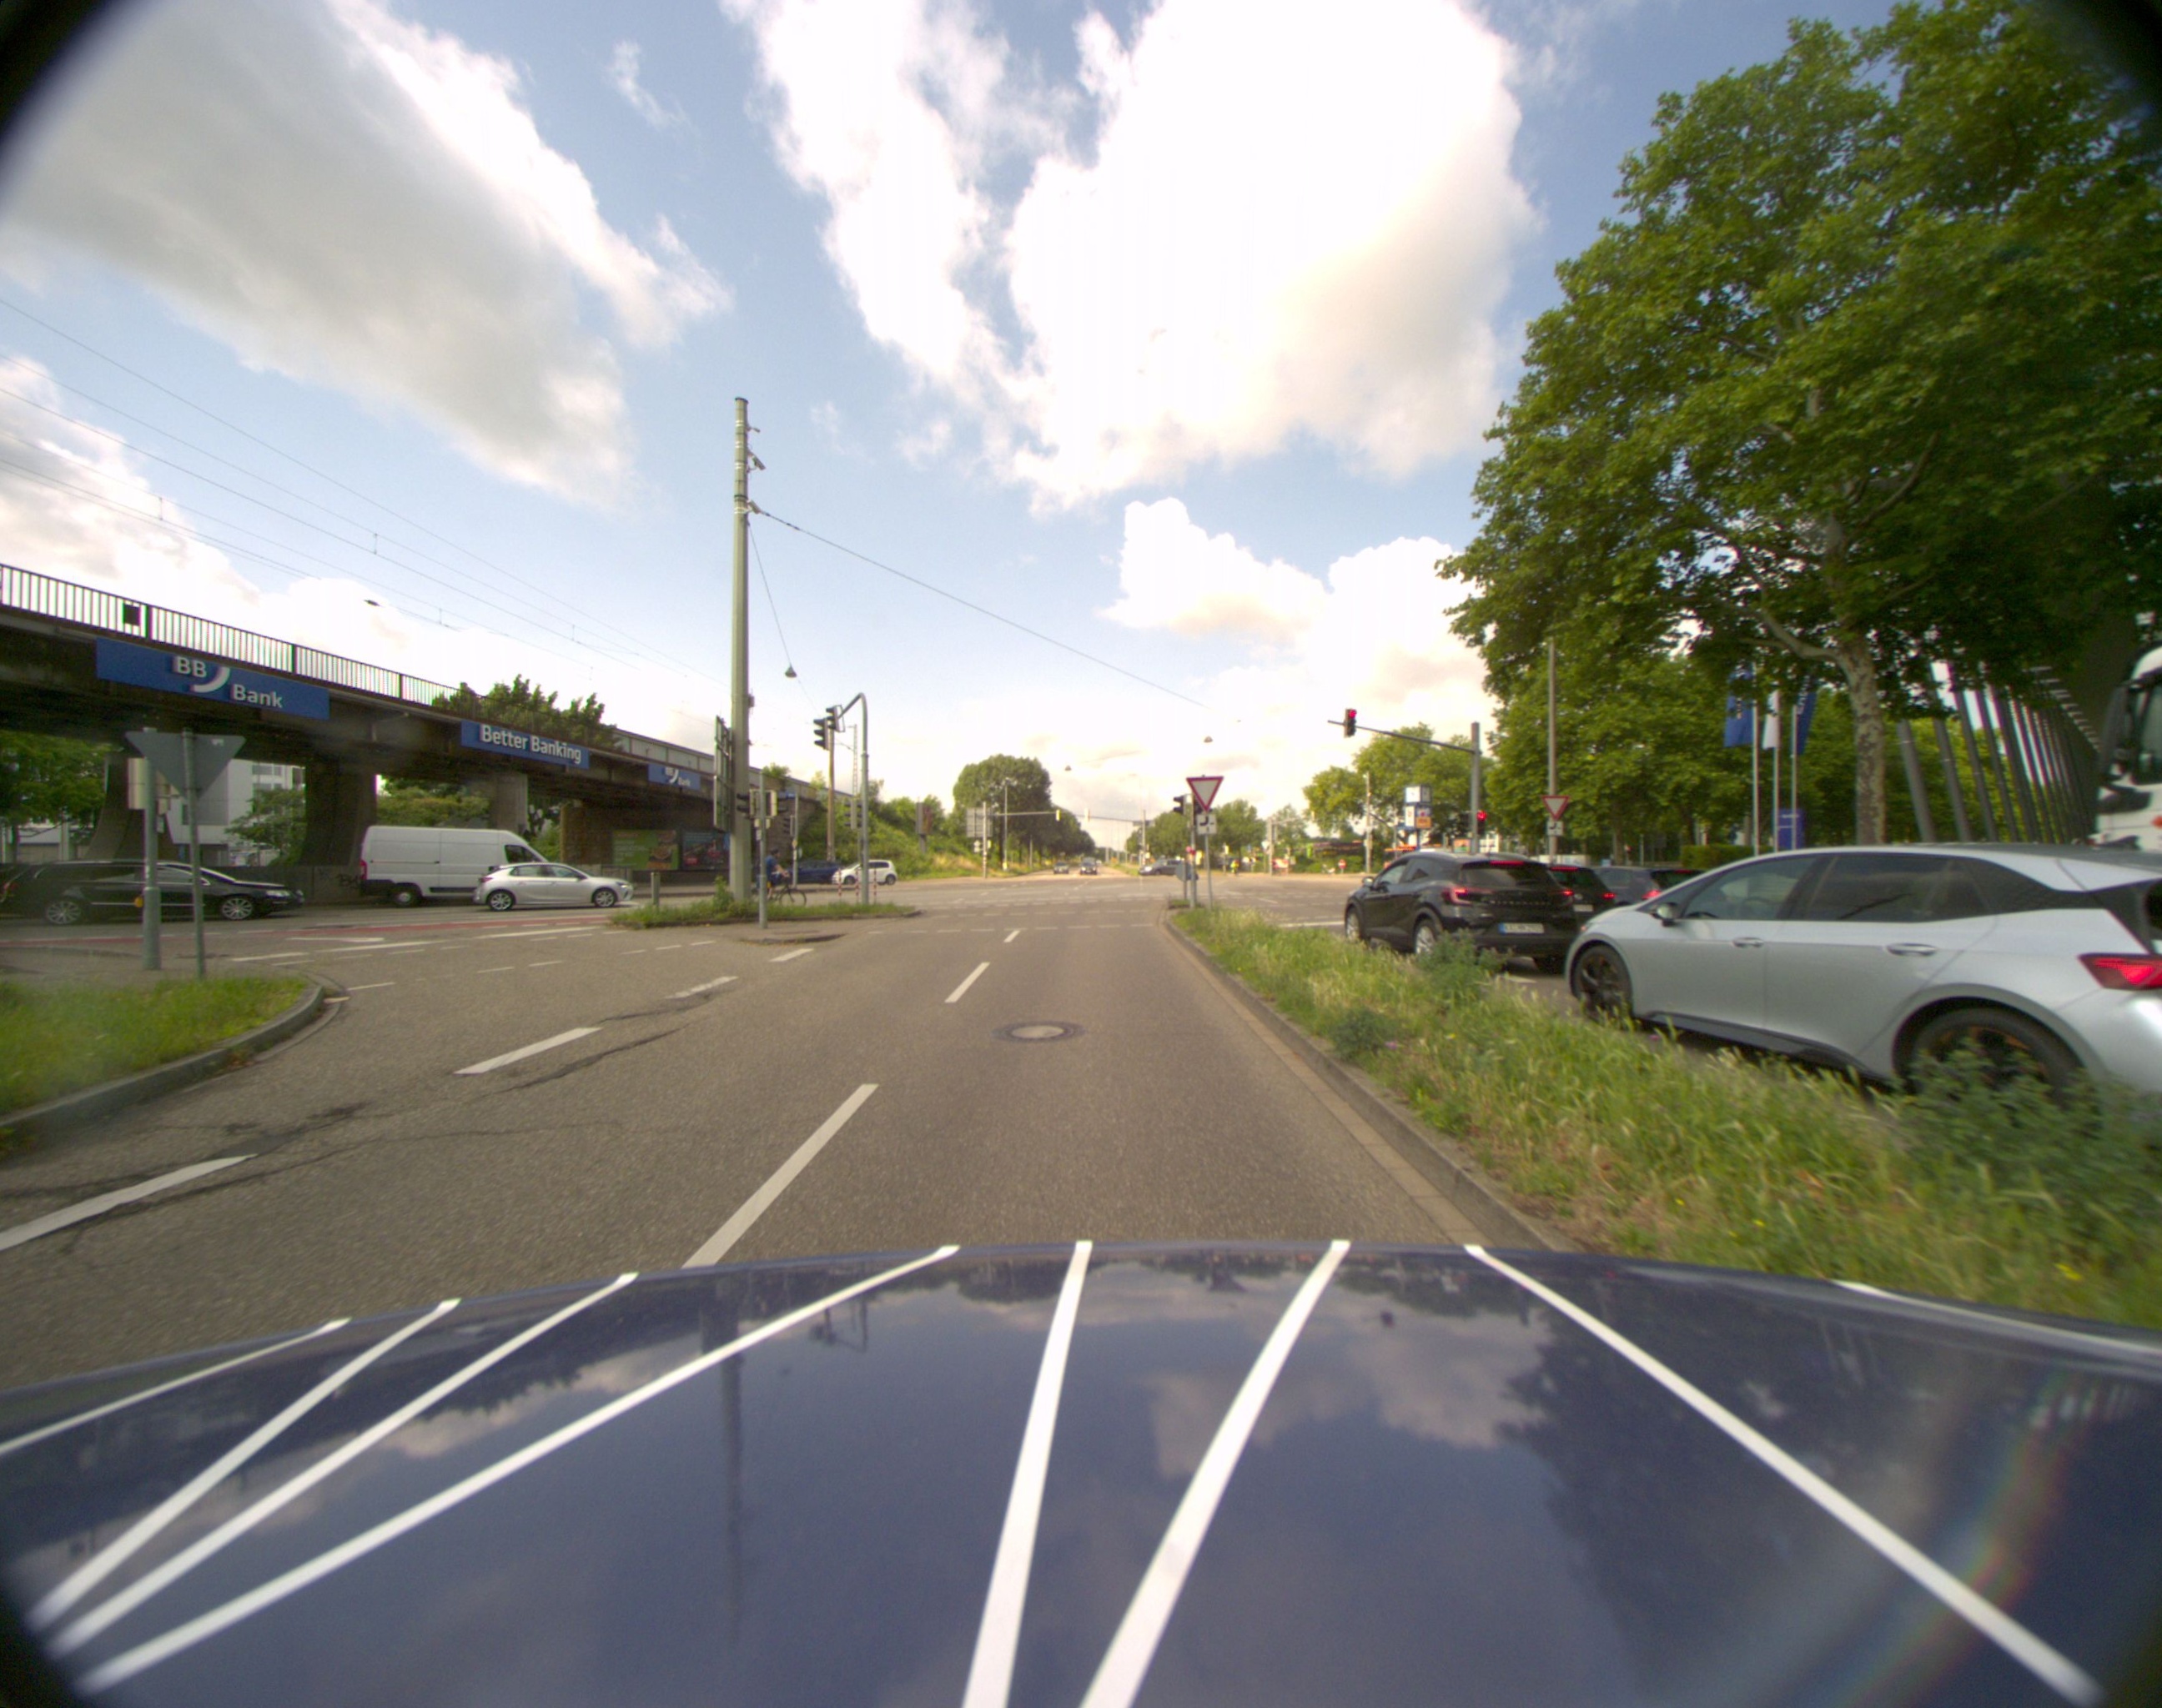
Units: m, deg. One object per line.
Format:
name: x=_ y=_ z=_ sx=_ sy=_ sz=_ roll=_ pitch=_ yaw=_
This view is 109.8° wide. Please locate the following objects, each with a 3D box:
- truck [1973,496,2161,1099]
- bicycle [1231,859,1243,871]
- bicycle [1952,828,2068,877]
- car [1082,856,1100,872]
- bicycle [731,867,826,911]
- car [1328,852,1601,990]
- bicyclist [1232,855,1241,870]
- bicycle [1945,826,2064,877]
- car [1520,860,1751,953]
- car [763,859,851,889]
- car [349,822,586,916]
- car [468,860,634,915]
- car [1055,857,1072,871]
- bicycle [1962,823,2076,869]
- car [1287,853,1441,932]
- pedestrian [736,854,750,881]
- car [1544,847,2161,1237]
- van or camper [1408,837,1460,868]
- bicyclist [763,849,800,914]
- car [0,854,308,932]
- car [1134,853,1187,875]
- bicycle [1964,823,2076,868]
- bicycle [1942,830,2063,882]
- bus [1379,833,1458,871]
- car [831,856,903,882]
truck: x=8.121 y=-0.331 z=0.751 sx=2.656 sy=3.865 sz=10.160 roll=1 pitch=0 yaw=2
bicycle: x=18.131 y=1.266 z=88.358 sx=0.677 sy=1.190 sz=2.231 roll=-5 pitch=2 yaw=-6
bicycle: x=29.391 y=-0.082 z=24.086 sx=0.692 sy=1.433 sz=2.173 roll=-3 pitch=4 yaw=-26
car: x=1.006 y=1.000 z=77.537 sx=1.820 sy=1.477 sz=4.000 roll=-1 pitch=0 yaw=1
bicycle: x=-8.307 y=0.934 z=20.895 sx=2.321 sy=1.087 sz=0.843 roll=-1 pitch=1 yaw=-27
car: x=5.162 y=0.776 z=10.997 sx=1.712 sy=1.578 sz=4.361 roll=1 pitch=0 yaw=0
bicyclist: x=18.109 y=1.023 z=88.346 sx=0.677 sy=1.670 sz=0.836 roll=-5 pitch=3 yaw=-7
bicycle: x=28.500 y=-0.114 z=23.508 sx=0.692 sy=1.433 sz=2.173 roll=-3 pitch=4 yaw=-26
car: x=11.449 y=0.995 z=16.097 sx=1.734 sy=1.562 sz=3.999 roll=4 pitch=0 yaw=-3
car: x=-16.271 y=1.146 z=45.265 sx=4.588 sy=1.566 sz=1.887 roll=-1 pitch=2 yaw=-34
car: x=-19.516 y=0.354 z=24.667 sx=5.635 sy=2.514 sz=2.258 roll=-4 pitch=6 yaw=-33
car: x=-16.016 y=0.956 z=23.132 sx=4.007 sy=1.468 sz=1.703 roll=-1 pitch=1 yaw=-36
car: x=-1.936 y=1.091 z=83.738 sx=1.716 sy=1.477 sz=4.000 roll=-1 pitch=0 yaw=1
bicycle: x=30.078 y=-0.301 z=24.408 sx=0.743 sy=1.377 sz=2.134 roll=-3 pitch=4 yaw=-28
car: x=6.316 y=0.788 z=17.583 sx=1.869 sy=1.564 sz=4.568 roll=-1 pitch=0 yaw=0
pedestrian: x=-21.426 y=0.836 z=48.191 sx=0.610 sy=1.642 sz=0.690 roll=-4 pitch=5 yaw=-33
car: x=5.242 y=0.758 z=5.035 sx=1.749 sy=1.544 sz=4.233 roll=2 pitch=1 yaw=1
van or camper: x=36.274 y=-0.175 z=78.108 sx=5.975 sy=2.771 sz=2.158 roll=-4 pitch=5 yaw=-36
bicyclist: x=-8.245 y=0.736 z=20.907 sx=0.824 sy=1.670 sz=0.843 roll=-3 pitch=5 yaw=-27
car: x=-22.550 y=0.863 z=18.724 sx=4.673 sy=1.574 sz=1.765 roll=-1 pitch=3 yaw=-39
car: x=6.457 y=0.770 z=61.298 sx=4.006 sy=1.456 sz=1.768 roll=-4 pitch=2 yaw=-34
bicycle: x=30.707 y=-0.306 z=24.892 sx=0.743 sy=1.377 sz=2.134 roll=-3 pitch=4 yaw=-28
bicycle: x=27.893 y=0.014 z=23.054 sx=0.692 sy=1.433 sz=2.173 roll=-3 pitch=4 yaw=-26
bus: x=36.692 y=-0.299 z=82.335 sx=10.410 sy=3.448 sz=2.738 roll=-4 pitch=5 yaw=-35
car: x=-12.399 y=0.849 z=44.047 sx=3.609 sy=1.477 sz=1.733 roll=0 pitch=-1 yaw=-37
